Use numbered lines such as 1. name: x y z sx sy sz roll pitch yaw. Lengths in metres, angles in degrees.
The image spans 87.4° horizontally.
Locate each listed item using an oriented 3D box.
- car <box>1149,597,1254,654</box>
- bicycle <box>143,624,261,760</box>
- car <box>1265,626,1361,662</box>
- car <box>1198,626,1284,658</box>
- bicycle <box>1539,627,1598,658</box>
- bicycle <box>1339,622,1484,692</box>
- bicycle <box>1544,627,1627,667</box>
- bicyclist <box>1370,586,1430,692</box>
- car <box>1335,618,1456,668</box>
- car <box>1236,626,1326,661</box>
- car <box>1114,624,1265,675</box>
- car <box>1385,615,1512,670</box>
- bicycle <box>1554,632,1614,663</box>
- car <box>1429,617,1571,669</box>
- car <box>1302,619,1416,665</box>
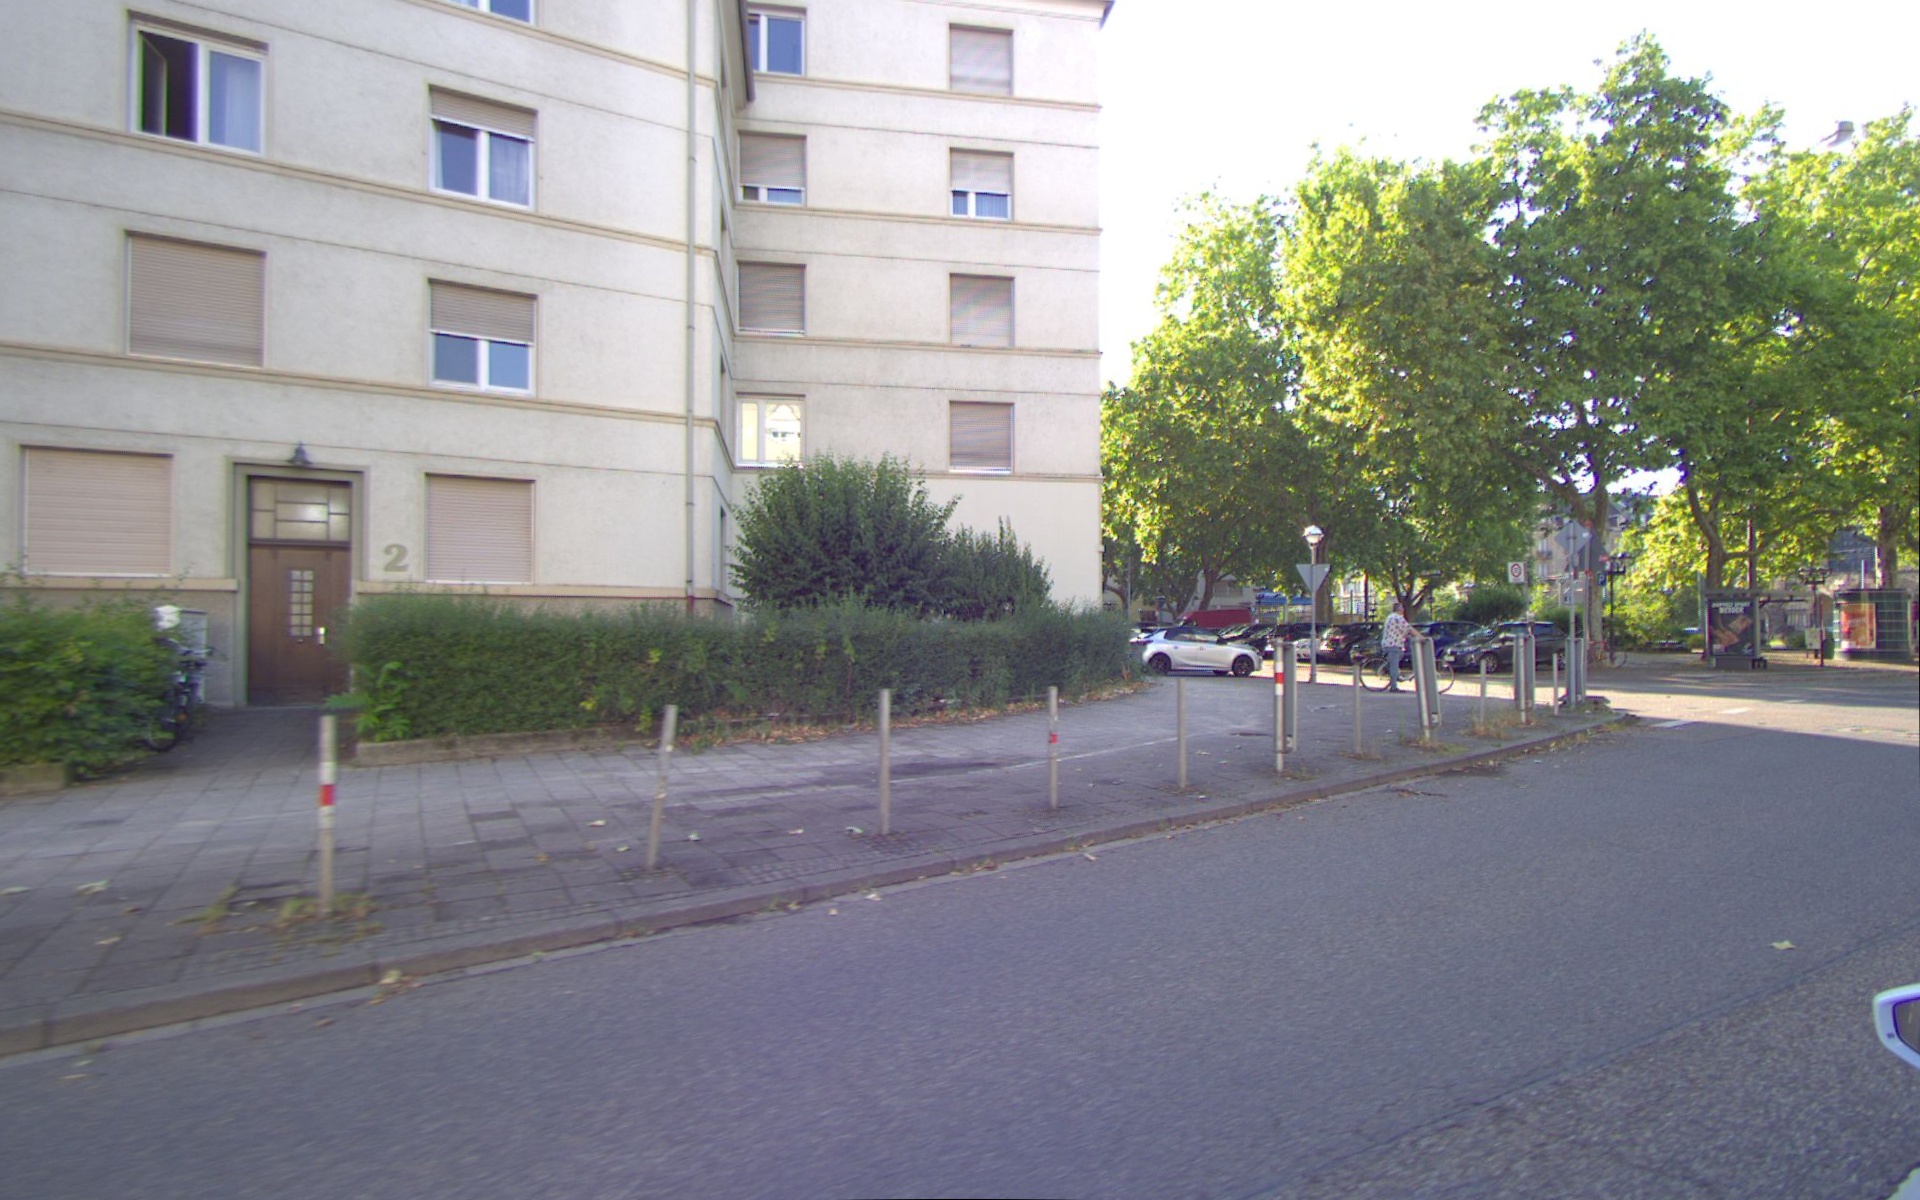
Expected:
1. car: 13.462 1.456 55.996 5.463 2.948 1.653 2 -3 -9
2. bicycle: -7.988 0.881 10.700 0.753 1.139 3.062 2 0 -33
3. car: 14.310 1.785 40.727 3.652 1.354 1.642 2 0 -29
4. car: 12.689 1.893 45.371 3.652 1.354 1.642 2 0 -29
5. bicycle: 21.210 1.483 34.990 2.185 1.006 0.548 2 0 -23
6. bicycle: 9.035 1.132 20.213 2.433 1.281 1.012 2 0 5
7. bicycle: 19.295 1.445 30.959 3.253 1.161 0.715 2 0 -31
8. bicyclist: 8.846 0.768 20.218 0.781 2.040 0.977 2 0 5
9. car: 15.687 1.550 36.162 3.947 1.639 1.867 2 0 -26
10. car: 13.768 1.863 43.050 3.652 1.354 1.642 2 0 -29
11. car: 6.660 1.451 29.313 3.962 1.353 1.653 2 -3 -8
12. car: 16.619 1.415 34.164 3.947 1.639 1.868 -2 0 -26
13. bicycle: 21.393 1.627 34.435 2.185 1.006 0.548 2 0 -23
14. car: 16.698 1.302 31.104 3.585 1.537 1.752 0 -1 -12
15. car: 15.317 1.608 38.560 3.947 1.639 1.867 2 0 -26
